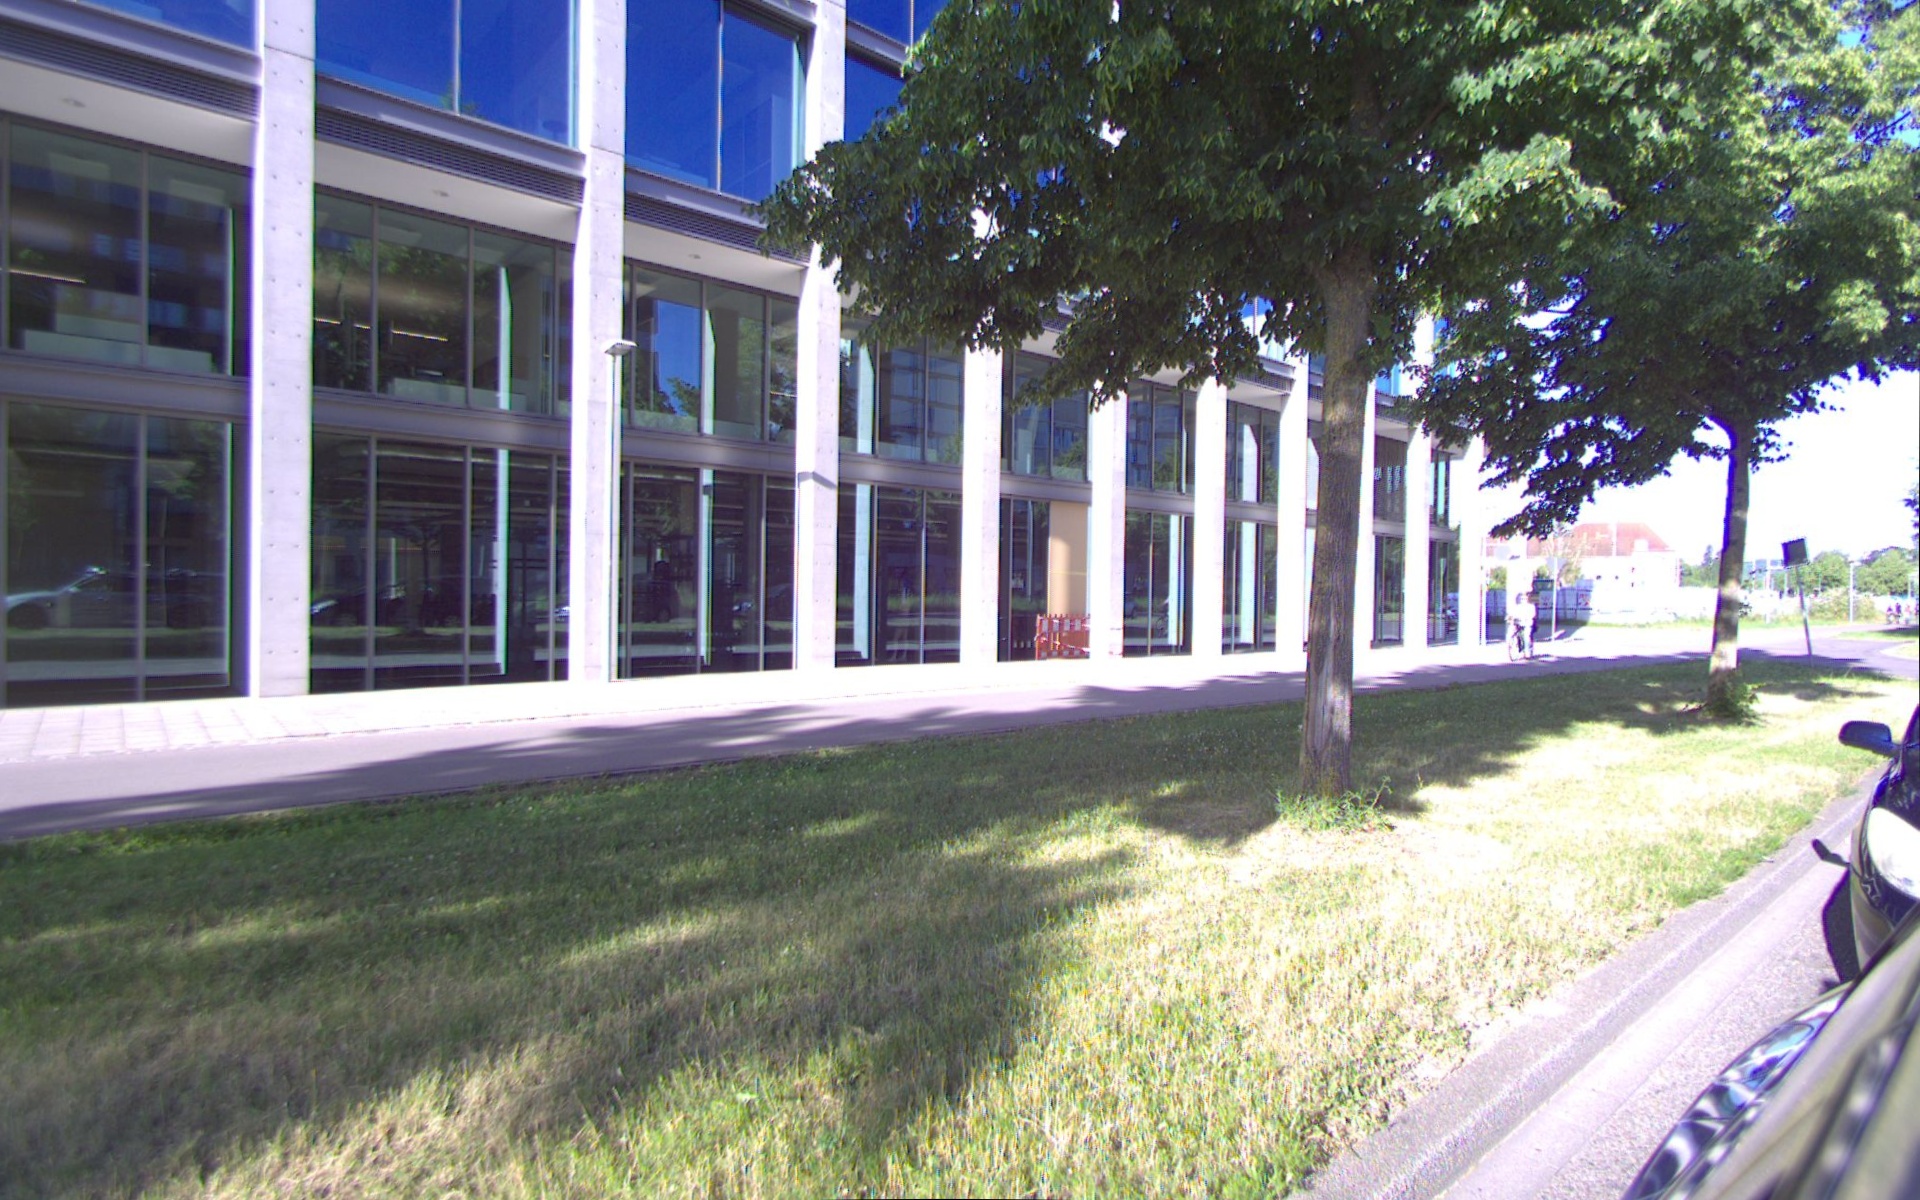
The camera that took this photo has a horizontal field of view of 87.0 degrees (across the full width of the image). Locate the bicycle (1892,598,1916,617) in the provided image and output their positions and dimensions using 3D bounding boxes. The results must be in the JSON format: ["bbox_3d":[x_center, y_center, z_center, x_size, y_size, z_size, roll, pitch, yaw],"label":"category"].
[{"bbox_3d":[71.579,0.536,76.733,3.930,1.380,0.930,0,1,-41],"label":"bicycle"}]

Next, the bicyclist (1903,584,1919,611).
[{"bbox_3d":[74.660,-0.230,79.375,1.101,2.082,0.930,0,0,-41],"label":"bicyclist"}]

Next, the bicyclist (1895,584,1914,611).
[{"bbox_3d":[71.608,-0.197,76.738,1.101,2.082,0.930,0,0,-41],"label":"bicyclist"}]

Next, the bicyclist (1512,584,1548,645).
[{"bbox_3d":[14.910,0.371,26.478,0.688,1.558,0.590,1,2,-44],"label":"bicyclist"}]

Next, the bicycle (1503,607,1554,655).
[{"bbox_3d":[14.894,0.795,26.493,1.896,1.170,0.590,1,2,-44],"label":"bicycle"}]

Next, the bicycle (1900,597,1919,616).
[{"bbox_3d":[74.832,0.500,79.562,3.930,1.380,0.930,0,1,-41],"label":"bicycle"}]

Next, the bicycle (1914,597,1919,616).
[{"bbox_3d":[72.573,0.509,76.039,3.930,1.380,0.930,0,1,-41],"label":"bicycle"}]

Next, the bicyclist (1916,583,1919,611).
[{"bbox_3d":[72.516,-0.223,75.982,1.101,2.082,0.930,0,0,-41],"label":"bicyclist"}]

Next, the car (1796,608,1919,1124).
[{"bbox_3d":[4.913,0.807,3.955,4.403,1.500,1.845,0,1,-41],"label":"car"}]

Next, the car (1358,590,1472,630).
[{"bbox_3d":[19.501,0.385,43.491,1.963,1.598,3.997,0,1,-38],"label":"car"}]
